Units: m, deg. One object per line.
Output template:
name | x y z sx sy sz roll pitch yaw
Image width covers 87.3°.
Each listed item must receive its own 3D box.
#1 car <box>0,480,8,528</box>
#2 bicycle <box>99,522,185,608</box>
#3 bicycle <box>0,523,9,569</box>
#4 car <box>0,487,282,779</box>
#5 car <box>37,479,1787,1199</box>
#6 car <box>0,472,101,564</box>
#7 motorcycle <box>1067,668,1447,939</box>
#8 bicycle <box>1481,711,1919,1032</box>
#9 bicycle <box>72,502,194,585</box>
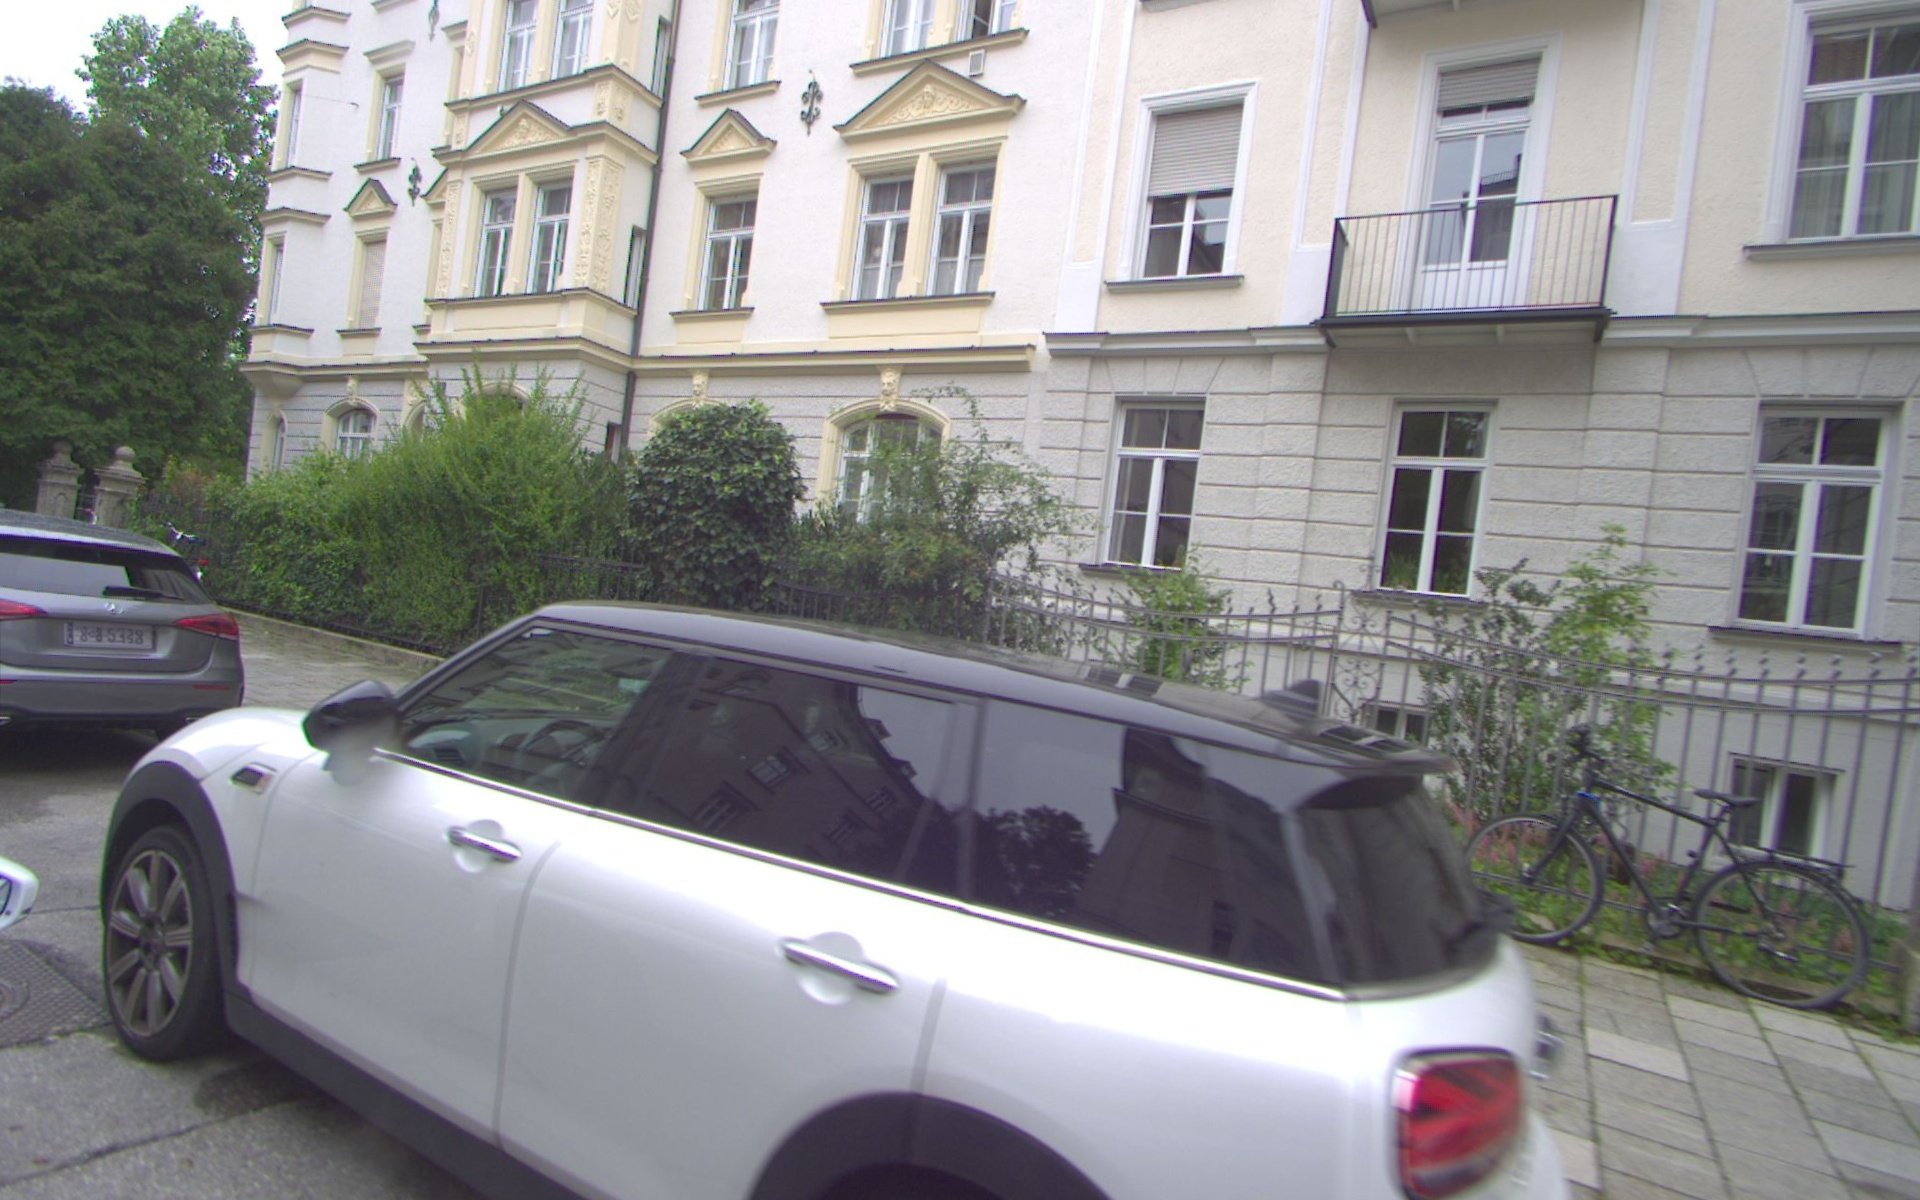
car | -10.692 -0.580 8.971 4.346 1.629 1.756 8 -2 28
bicycle | -11.981 -0.522 14.733 1.291 1.112 0.455 7 0 30
bicycle | -17.544 -1.030 17.908 1.332 0.791 0.513 7 0 32
car | -6.510 0.015 6.593 3.949 1.522 1.688 7 -2 29
car | -0.547 0.683 2.773 3.997 1.522 1.788 7 -2 31
car | -24.061 -2.189 24.297 1.869 1.974 4.542 9 0 25
motorcycle | 1.683 1.093 5.890 1.933 1.126 0.607 7 0 35
bicycle | 3.730 1.273 5.043 1.850 1.139 0.435 7 0 32
bicycle | -14.724 -0.986 17.959 0.481 1.211 1.492 7 -3 26
